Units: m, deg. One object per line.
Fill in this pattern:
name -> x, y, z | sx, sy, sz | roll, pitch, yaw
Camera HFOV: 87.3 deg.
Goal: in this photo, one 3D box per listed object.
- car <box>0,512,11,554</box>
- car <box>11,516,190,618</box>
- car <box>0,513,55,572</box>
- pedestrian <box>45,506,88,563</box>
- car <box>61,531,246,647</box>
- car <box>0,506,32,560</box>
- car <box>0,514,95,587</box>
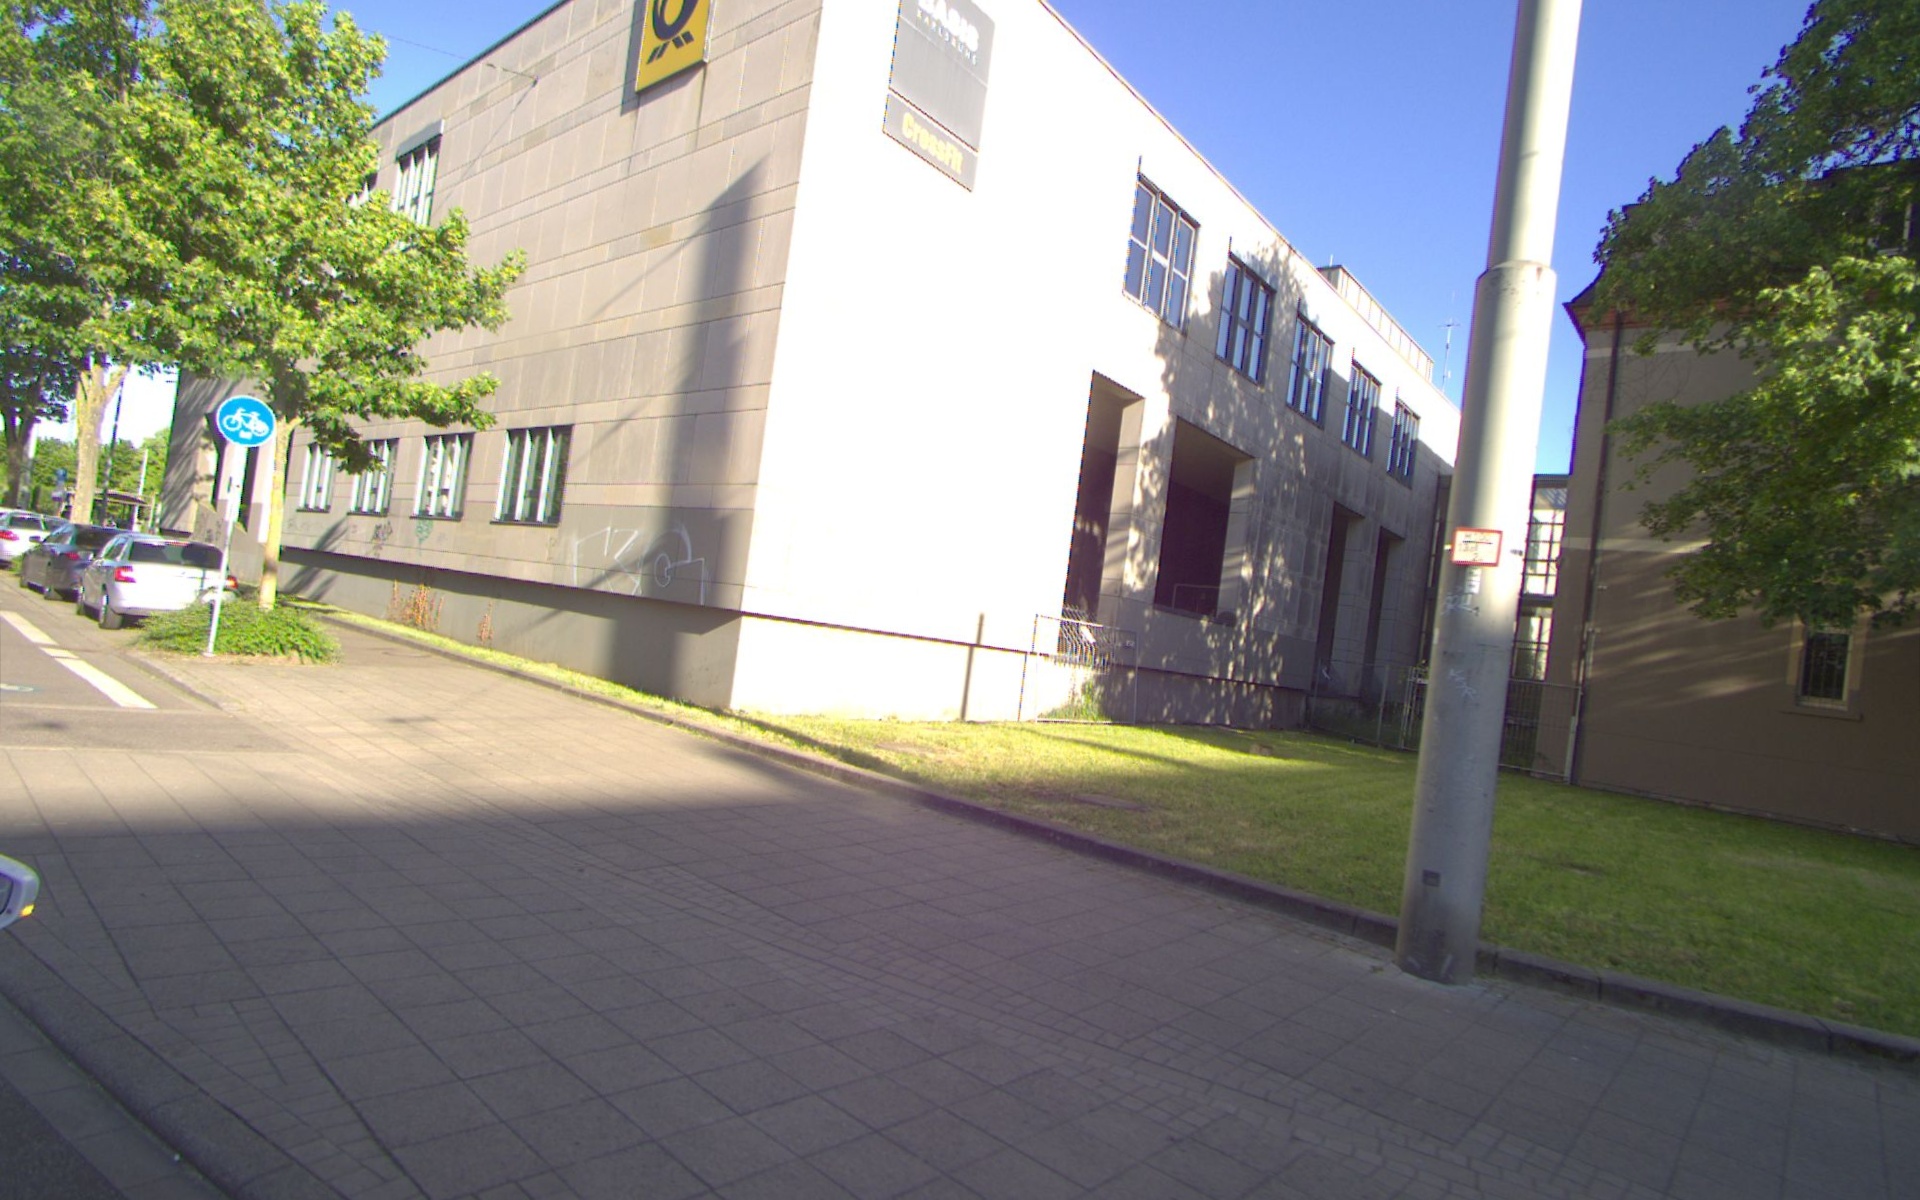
car -> -37.126, -2.705, 37.587 | 4.128, 1.500, 1.842 | 6, -2, 40
car -> -17.010, -0.695, 19.836 | 4.576, 1.507, 1.839 | 6, -2, 40
car -> -27.894, -1.794, 29.235 | 4.554, 1.474, 1.745 | 6, -2, 42
pedestrian -> -34.692, -2.543, 39.055 | 1.011, 2.037, 0.967 | 6, -2, 42
car -> -13.337, -0.223, 16.562 | 3.861, 1.472, 1.640 | 6, -2, 42
car -> -33.313, -2.423, 34.319 | 4.046, 1.659, 1.817 | 6, -2, 40
car -> -23.492, -1.320, 25.401 | 4.099, 1.480, 1.821 | 6, -3, 41
